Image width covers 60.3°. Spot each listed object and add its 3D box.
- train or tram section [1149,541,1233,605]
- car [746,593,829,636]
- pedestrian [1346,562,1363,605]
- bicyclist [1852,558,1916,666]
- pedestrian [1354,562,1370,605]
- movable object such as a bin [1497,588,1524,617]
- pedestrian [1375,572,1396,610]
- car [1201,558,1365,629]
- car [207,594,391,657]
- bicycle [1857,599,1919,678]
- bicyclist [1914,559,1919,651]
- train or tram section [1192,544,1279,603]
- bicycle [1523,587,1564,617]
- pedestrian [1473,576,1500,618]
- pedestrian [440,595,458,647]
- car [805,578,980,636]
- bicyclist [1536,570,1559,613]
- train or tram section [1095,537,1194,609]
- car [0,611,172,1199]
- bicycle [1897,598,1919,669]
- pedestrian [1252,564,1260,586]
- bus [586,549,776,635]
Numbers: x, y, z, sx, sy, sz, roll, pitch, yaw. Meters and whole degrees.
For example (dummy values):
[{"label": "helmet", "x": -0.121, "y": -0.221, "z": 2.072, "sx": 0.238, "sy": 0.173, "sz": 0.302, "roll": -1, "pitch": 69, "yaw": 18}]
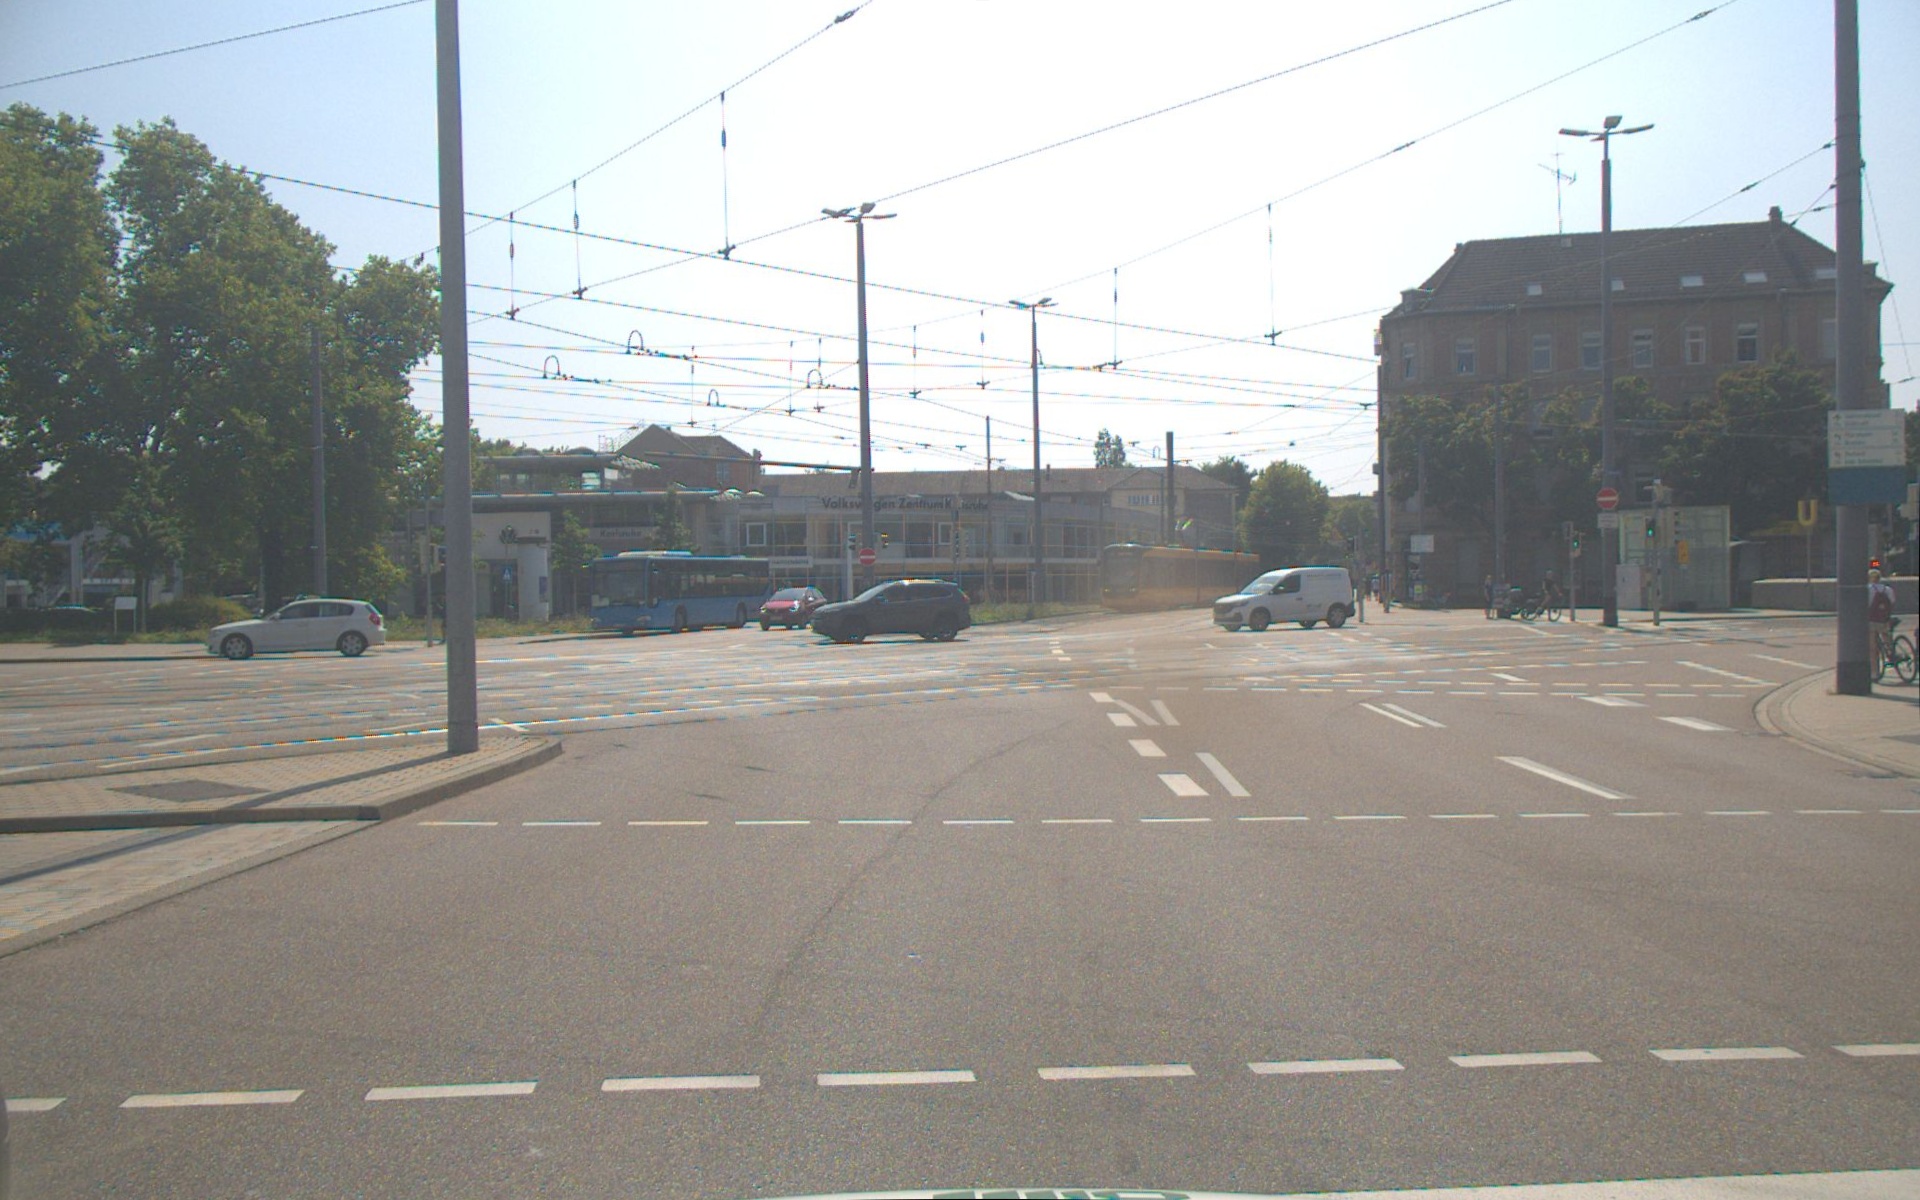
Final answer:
[{"label": "train or tram section", "x": 13.703, "y": -1.550, "z": 97.399, "sx": 2.536, "sy": 3.578, "sz": 9.657, "roll": -1, "pitch": 0, "yaw": 23}, {"label": "car", "x": -6.555, "y": 0.533, "z": 63.240, "sx": 1.713, "sy": 1.579, "sz": 4.002, "roll": -1, "pitch": 0, "yaw": 17}, {"label": "pedestrian", "x": 27.874, "y": -1.169, "z": 116.921, "sx": 0.963, "sy": 3.070, "sz": 0.975, "roll": -1, "pitch": 0, "yaw": 5}, {"label": "bicyclist", "x": 13.476, "y": 0.178, "z": 24.131, "sx": 0.614, "sy": 1.544, "sz": 0.712, "roll": -1, "pitch": 0, "yaw": 12}, {"label": "pedestrian", "x": 28.825, "y": -1.164, "z": 118.622, "sx": 0.963, "sy": 3.070, "sz": 0.975, "roll": -1, "pitch": 0, "yaw": 5}, {"label": "movable object such as a bin", "x": 20.845, "y": 0.086, "z": 62.652, "sx": 0.798, "sy": 1.096, "sz": 0.510, "roll": -1, "pitch": 0, "yaw": -11}, {"label": "pedestrian", "x": 18.385, "y": -0.392, "z": 71.534, "sx": 0.686, "sy": 1.631, "sz": 0.572, "roll": -1, "pitch": 0, "yaw": -8}, {"label": "car", "x": 9.862, "y": -0.210, "z": 50.508, "sx": 4.542, "sy": 2.049, "sz": 1.988, "roll": -1, "pitch": 0, "yaw": -20}, {"label": "car", "x": -16.372, "y": 0.609, "z": 41.178, "sx": 4.126, "sy": 1.440, "sz": 1.765, "roll": -1, "pitch": 0, "yaw": -20}, {"label": "bicycle", "x": 13.470, "y": 0.535, "z": 23.785, "sx": 0.525, "sy": 1.073, "sz": 1.655, "roll": -1, "pitch": 0, "yaw": 12}, {"label": "bicyclist", "x": 14.967, "y": 0.082, "z": 25.159, "sx": 0.519, "sy": 1.417, "sz": 0.894, "roll": -1, "pitch": 0, "yaw": 12}, {"label": "train or tram section", "x": 18.113, "y": -1.716, "z": 107.762, "sx": 2.536, "sy": 3.578, "sz": 12.968, "roll": -1, "pitch": 0, "yaw": 23}, {"label": "bicycle", "x": 21.374, "y": 0.072, "z": 60.571, "sx": 0.462, "sy": 1.073, "sz": 1.643, "roll": -1, "pitch": 0, "yaw": -20}, {"label": "pedestrian", "x": 20.008, "y": -0.113, "z": 62.861, "sx": 0.834, "sy": 1.572, "sz": 0.528, "roll": -1, "pitch": 0, "yaw": -9}, {"label": "pedestrian", "x": -16.889, "y": 0.692, "z": 54.658, "sx": 0.544, "sy": 1.713, "sz": 0.452, "roll": -1, "pitch": 0, "yaw": -19}, {"label": "car", "x": -1.913, "y": 0.175, "z": 46.697, "sx": 4.545, "sy": 1.531, "sz": 1.987, "roll": -1, "pitch": 0, "yaw": -21}, {"label": "bicyclist", "x": 21.447, "y": -0.294, "z": 60.397, "sx": 0.603, "sy": 1.555, "sz": 0.517, "roll": -1, "pitch": 0, "yaw": -25}, {"label": "train or tram section", "x": 9.926, "y": -1.395, "z": 87.748, "sx": 2.535, "sy": 3.578, "sz": 10.899, "roll": -1, "pitch": 0, "yaw": 21}, {"label": "car", "x": -2.497, "y": 0.731, "z": 1.341, "sx": 1.728, "sy": 1.412, "sz": 3.783, "roll": 1, "pitch": 0, "yaw": 3}, {"label": "bicycle", "x": 15.038, "y": 0.521, "z": 25.515, "sx": 0.525, "sy": 1.073, "sz": 1.655, "roll": -1, "pitch": 0, "yaw": 12}, {"label": "pedestrian", "x": 28.186, "y": -2.401, "z": 157.469, "sx": 0.713, "sy": 2.049, "sz": 0.670, "roll": -1, "pitch": 0, "yaw": 17}, {"label": "bus", "x": -10.904, "y": -0.336, "z": 66.450, "sx": 2.508, "sy": 3.136, "sz": 12.031, "roll": -1, "pitch": 0, "yaw": 16}]
